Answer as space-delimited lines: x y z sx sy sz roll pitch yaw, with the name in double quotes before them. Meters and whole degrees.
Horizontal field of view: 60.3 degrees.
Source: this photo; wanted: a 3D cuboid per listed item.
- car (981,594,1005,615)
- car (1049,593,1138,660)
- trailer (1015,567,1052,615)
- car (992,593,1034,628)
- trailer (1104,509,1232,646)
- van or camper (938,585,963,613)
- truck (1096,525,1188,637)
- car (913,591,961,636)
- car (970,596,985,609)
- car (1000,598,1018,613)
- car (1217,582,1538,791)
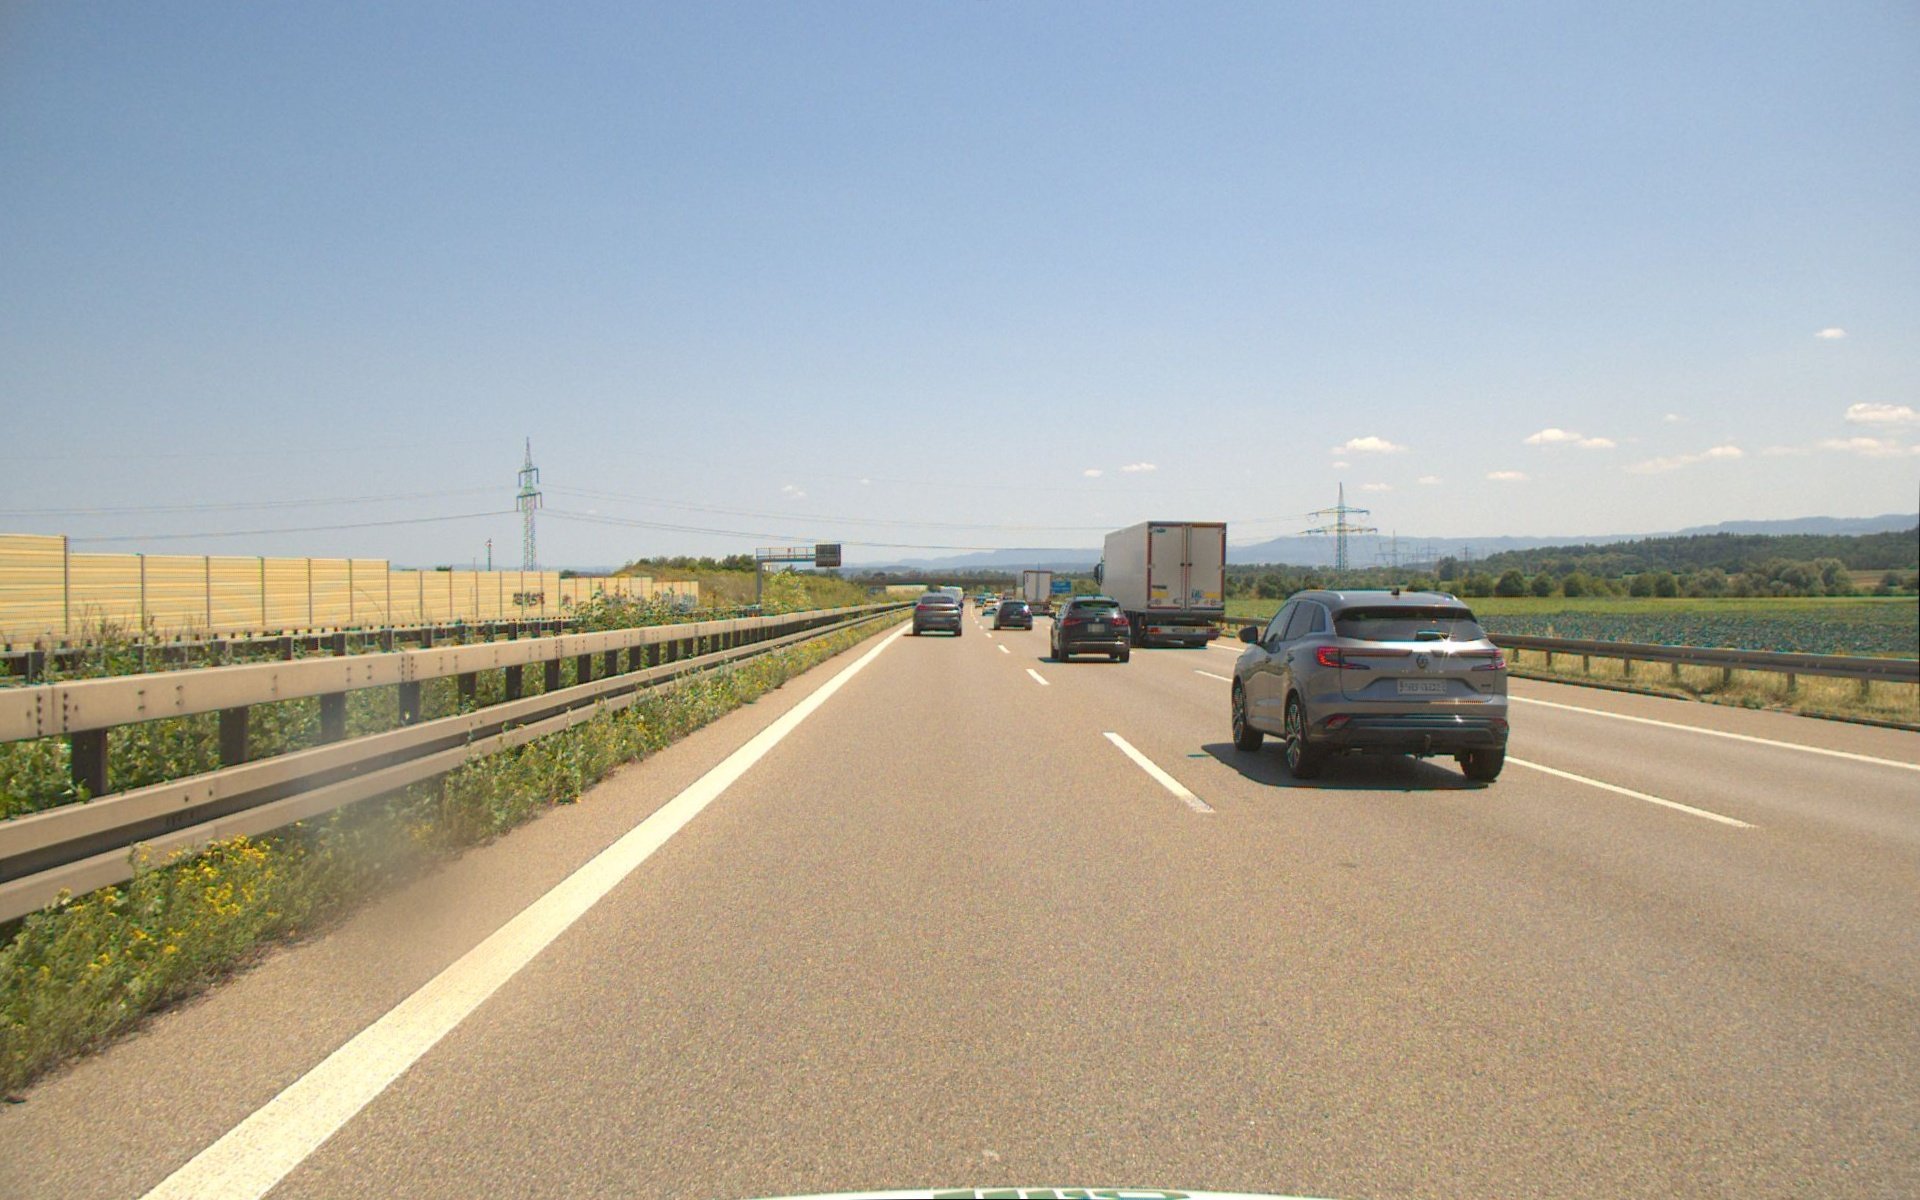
"car" 2.859 0.386 143.828 1.952 1.712 4.000 1 0 0
"car" 3.328 0.654 41.746 1.761 1.589 3.821 1 0 -2
"trailer" 6.770 -0.759 154.386 2.882 4.271 13.596 1 0 1
"car" 2.575 0.522 81.354 1.893 1.602 4.934 1 0 0
"trailer" 7.193 -0.683 59.233 2.809 4.294 13.293 1 0 0
"van or camper" -0.811 -0.063 142.199 2.067 2.250 5.265 1 0 1
"truck" 7.160 -0.698 65.921 2.804 4.163 6.878 1 0 -1
"car" -0.958 0.538 66.424 1.814 1.693 3.733 1 0 -2
"car" 2.420 0.308 228.215 1.952 1.712 4.000 1 0 0
"car" 5.722 0.690 192.290 1.952 1.712 4.000 1 0 0
"car" 3.748 0.678 15.733 1.813 1.677 4.644 1 1 -1
